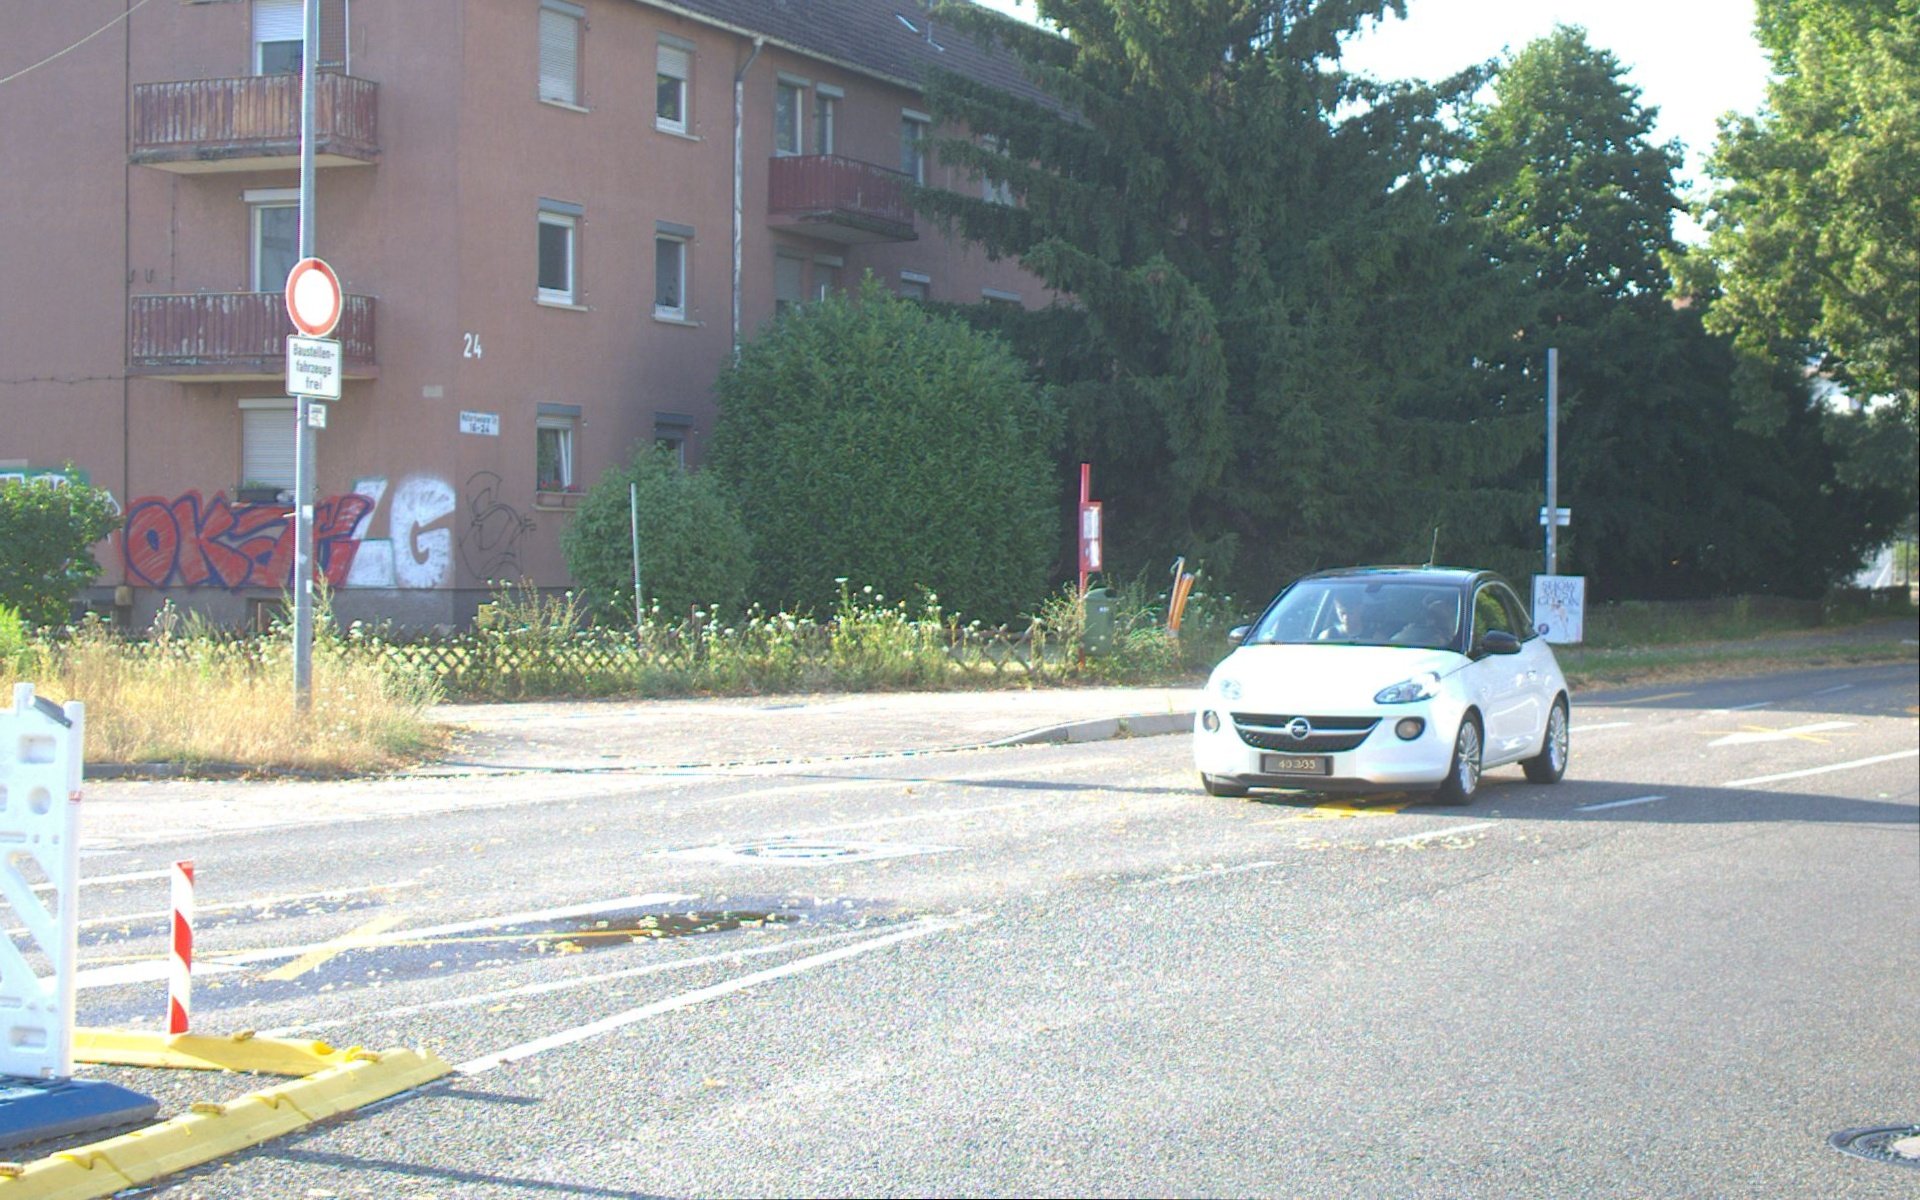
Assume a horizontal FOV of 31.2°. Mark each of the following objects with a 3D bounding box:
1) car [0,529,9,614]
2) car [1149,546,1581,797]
[{"bbox_3d":[-19.165,-0.521,61.445,3.986,1.525,2.001,0,1,-9],"label":"car"},{"bbox_3d":[2.702,0.398,22.229,1.761,1.416,3.620,2,1,23],"label":"car"}]
